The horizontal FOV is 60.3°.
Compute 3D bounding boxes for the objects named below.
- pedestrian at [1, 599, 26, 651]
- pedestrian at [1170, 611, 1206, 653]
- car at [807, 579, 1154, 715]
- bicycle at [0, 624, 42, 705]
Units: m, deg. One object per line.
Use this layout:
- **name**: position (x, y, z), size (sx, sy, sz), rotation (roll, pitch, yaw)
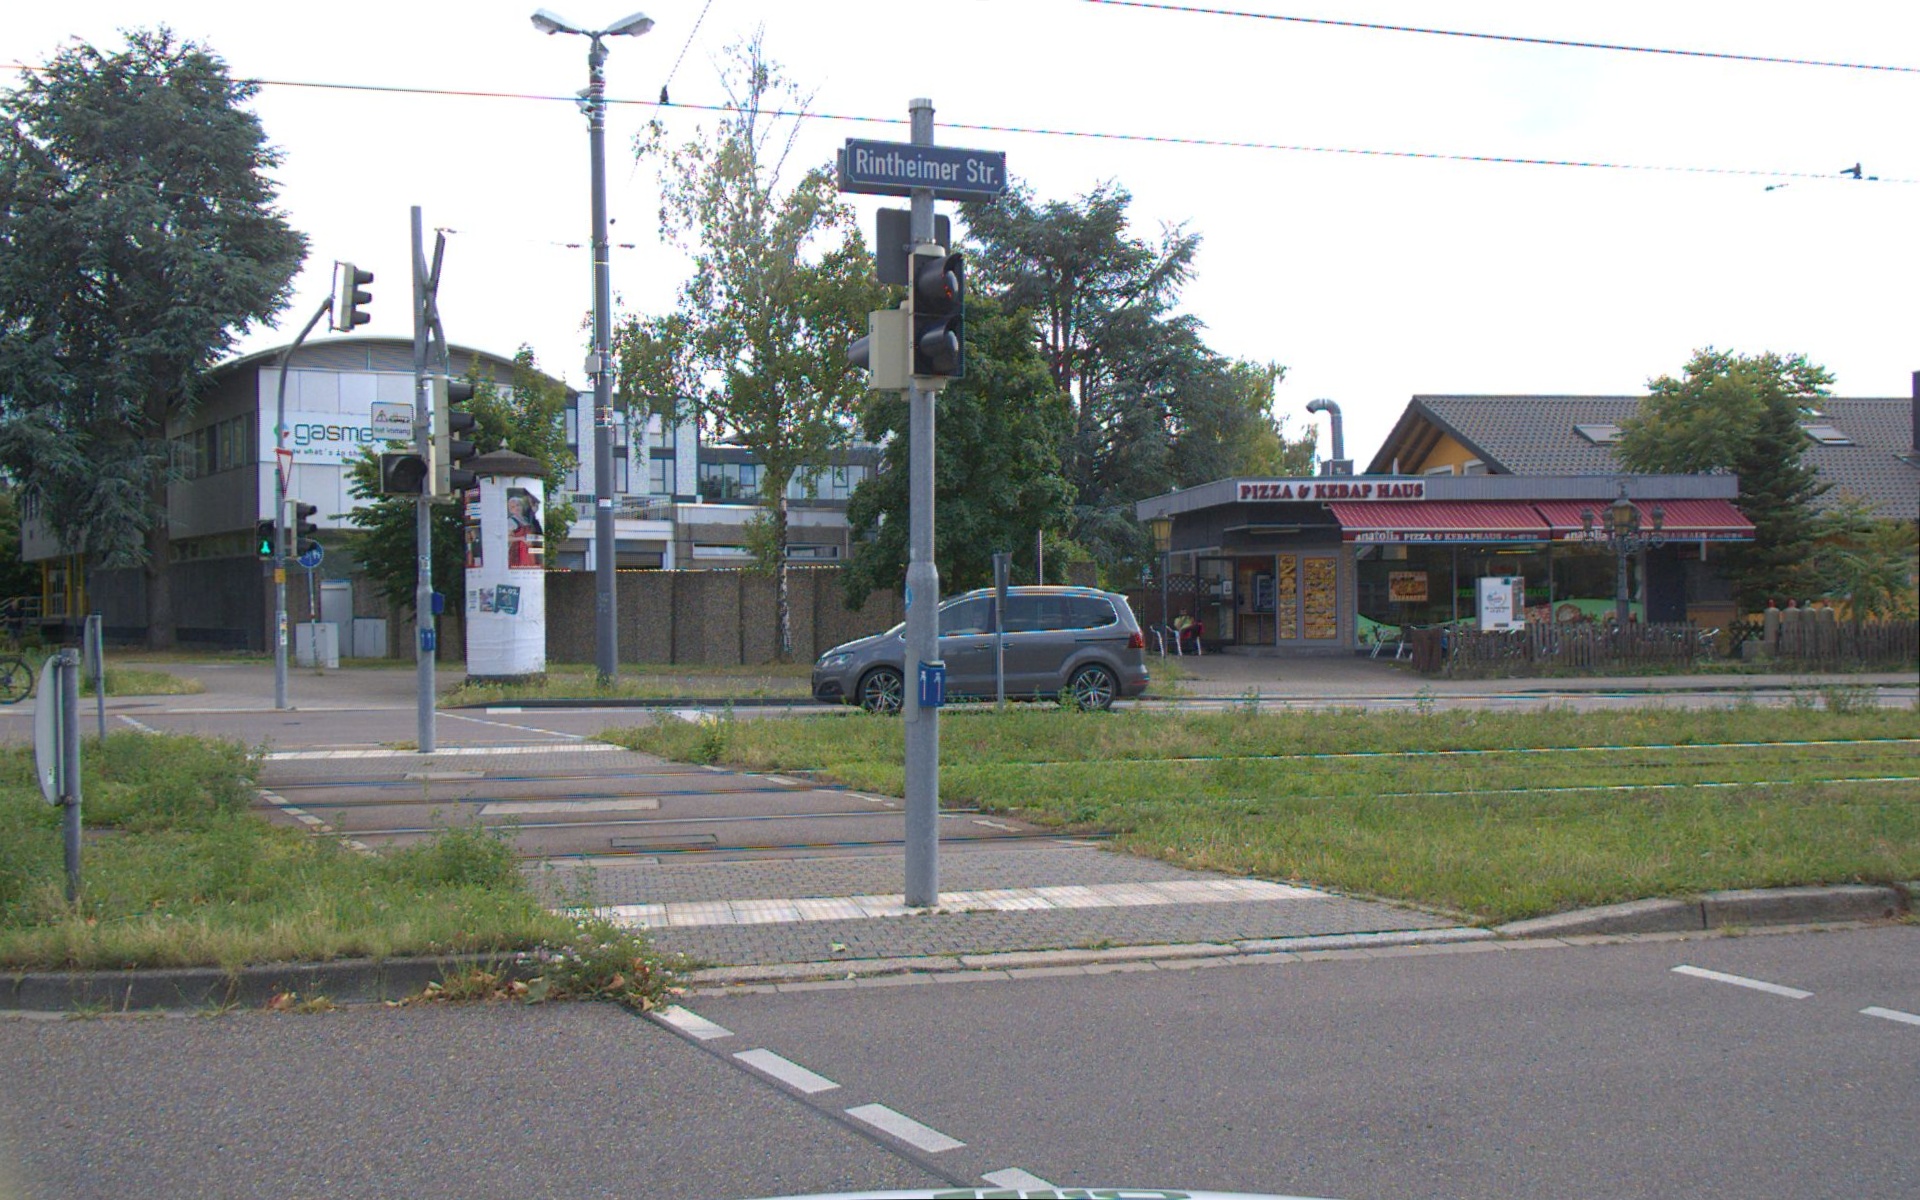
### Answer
- **pedestrian**: position (-29.706, 0.763, 51.907), size (0.615, 1.596, 0.552), rotation (-1, 2, -35)
- **pedestrian**: position (5.343, 0.743, 38.747), size (0.710, 0.945, 0.776), rotation (0, 1, -2)
- **car**: position (0.211, 0.625, 23.195), size (4.635, 1.752, 1.997), rotation (-1, 0, -7)
- **bicycle**: position (-15.591, 1.025, 26.050), size (1.922, 1.257, 0.536), rotation (-1, 2, -26)
